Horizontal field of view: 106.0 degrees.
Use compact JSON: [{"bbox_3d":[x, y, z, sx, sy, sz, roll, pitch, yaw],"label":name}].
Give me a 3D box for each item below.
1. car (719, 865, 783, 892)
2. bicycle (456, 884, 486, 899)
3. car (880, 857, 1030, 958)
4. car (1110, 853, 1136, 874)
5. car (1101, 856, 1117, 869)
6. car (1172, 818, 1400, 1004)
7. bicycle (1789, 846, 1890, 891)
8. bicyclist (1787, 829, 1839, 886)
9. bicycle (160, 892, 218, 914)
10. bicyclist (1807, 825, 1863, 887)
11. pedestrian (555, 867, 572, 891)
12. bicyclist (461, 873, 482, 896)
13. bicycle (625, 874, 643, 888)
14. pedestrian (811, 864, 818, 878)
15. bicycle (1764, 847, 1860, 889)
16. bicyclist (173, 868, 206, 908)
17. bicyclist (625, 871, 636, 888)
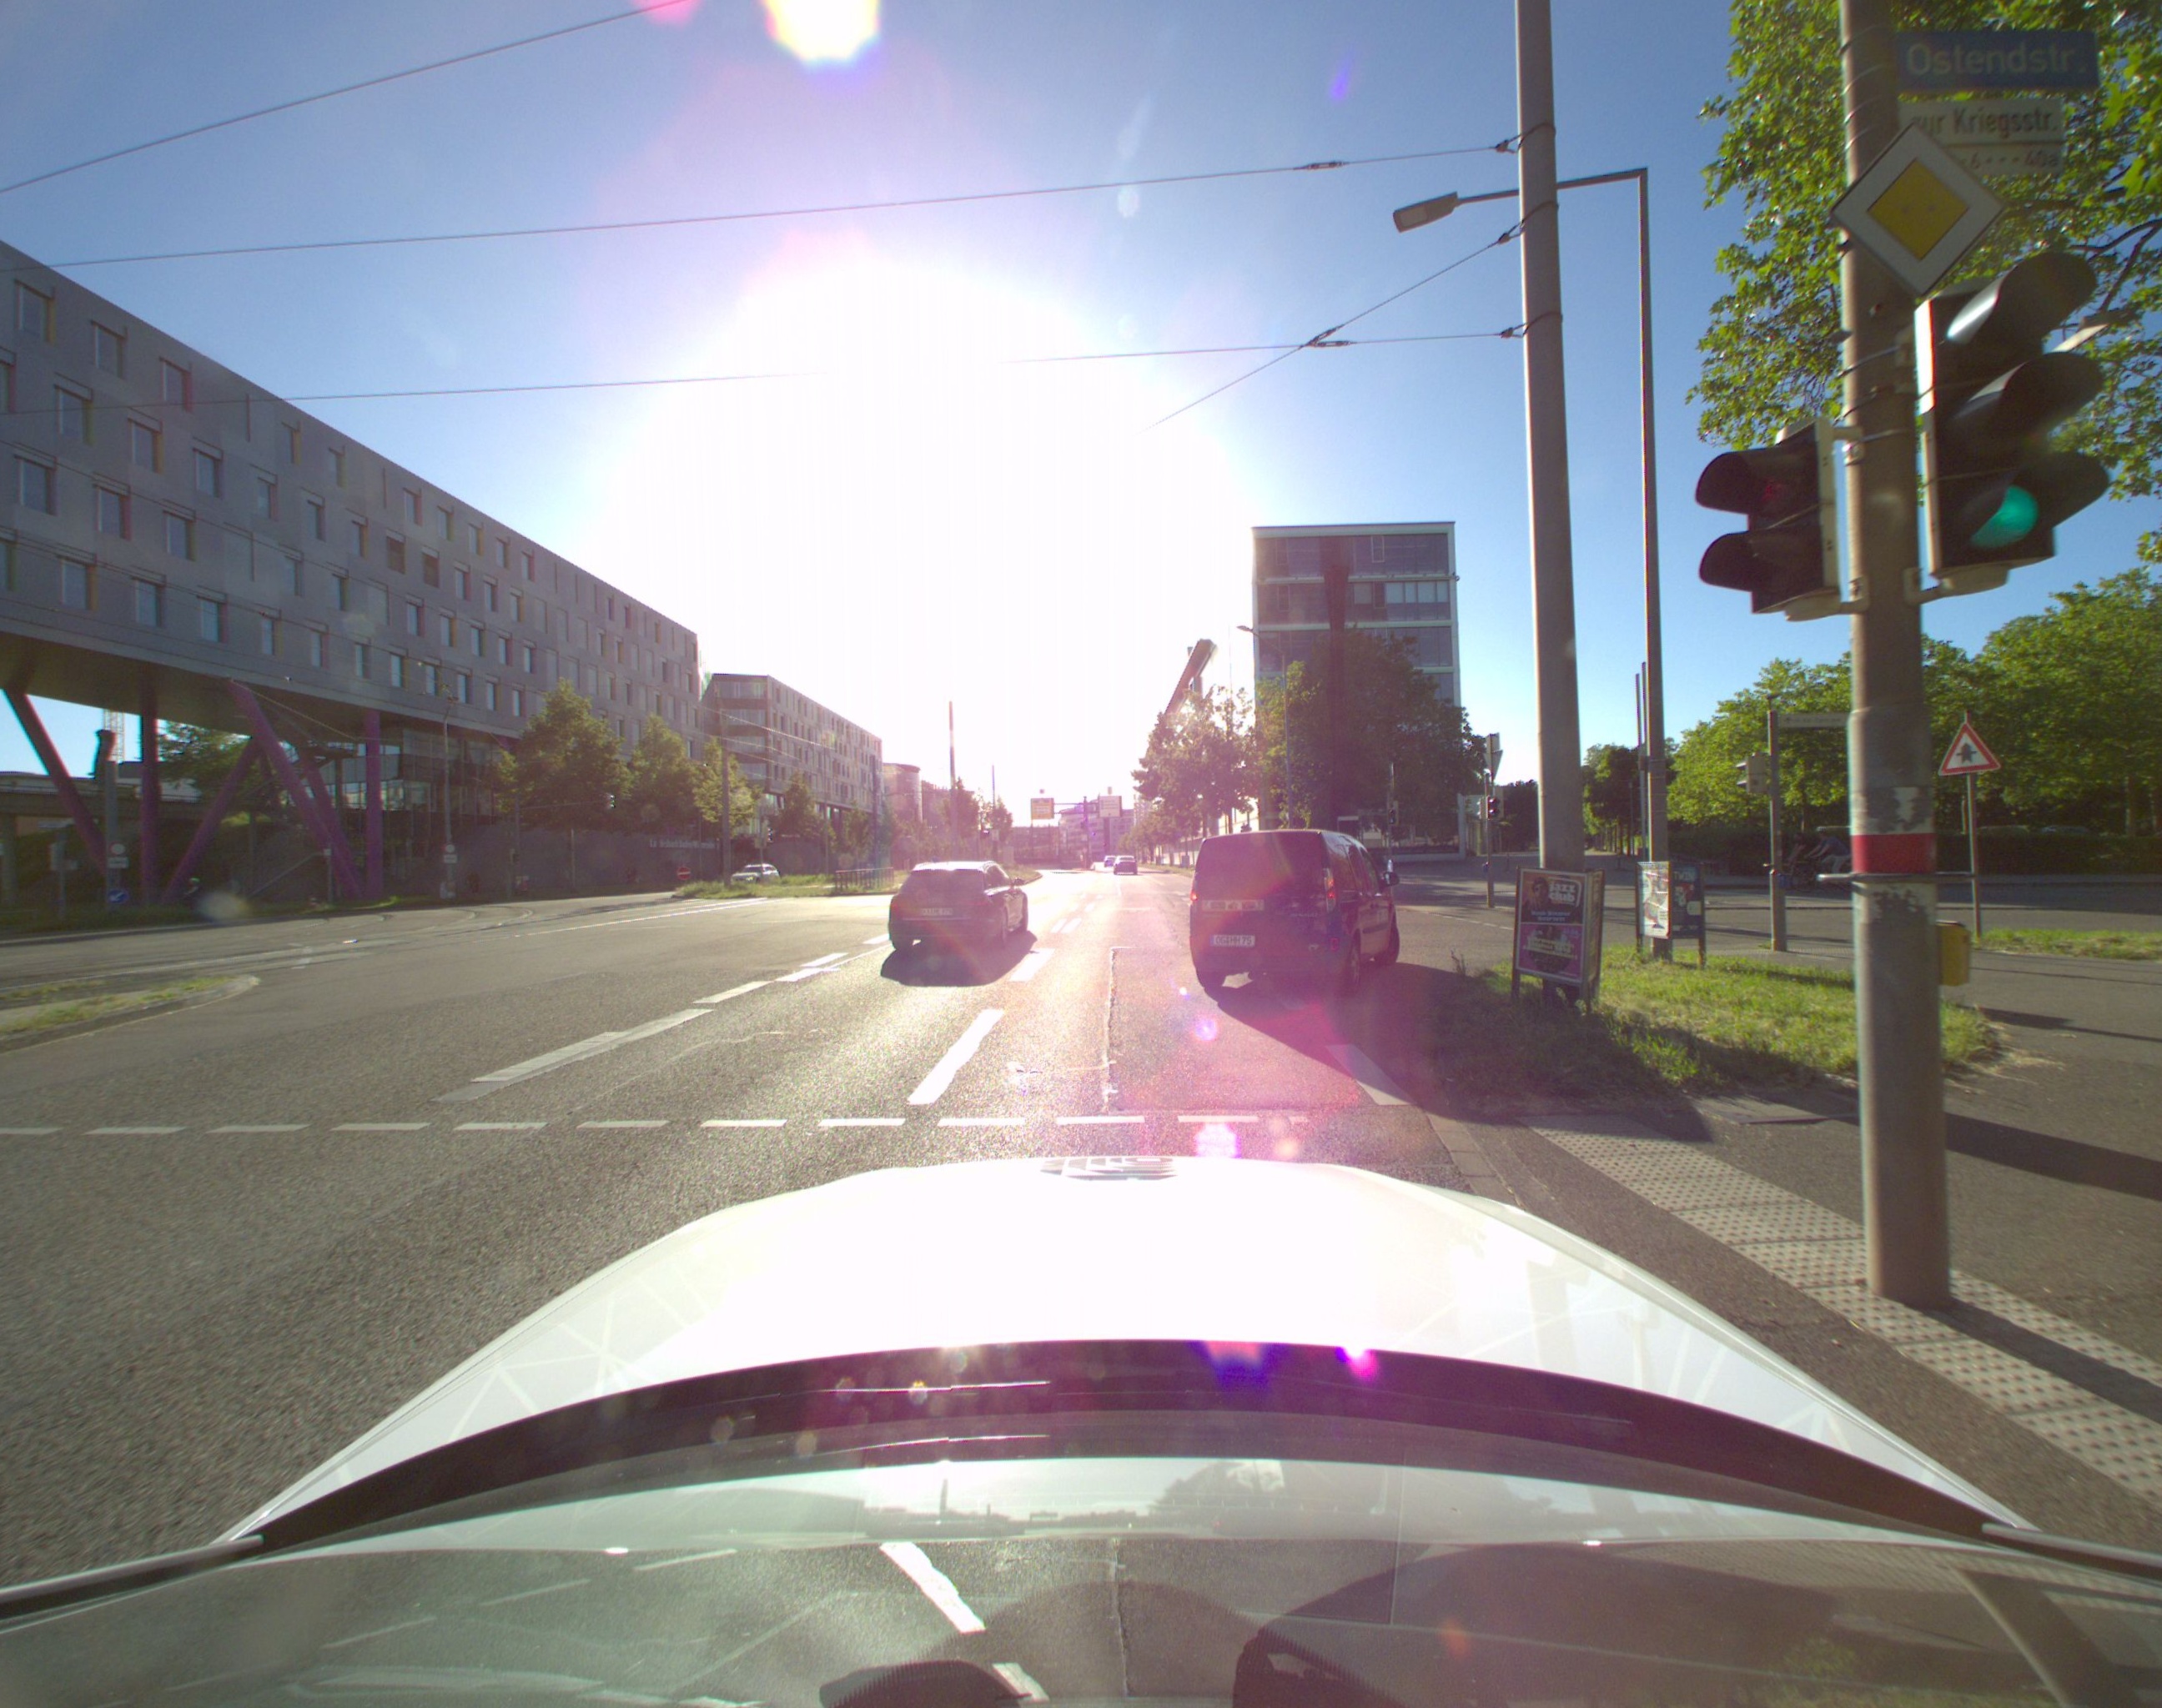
[{"bbox_3d":[-20.776,1.505,51.474,1.987,1.562,4.871,-2,0,0],"label":"car"},{"bbox_3d":[-38.814,2.398,51.811,0.573,0.863,1.693,-2,0,2],"label":"bicycle"},{"bbox_3d":[-2.079,0.821,14.805,1.805,1.427,4.693,0,1,2],"label":"car"},{"bbox_3d":[3.139,0.717,61.280,1.846,1.546,4.000,0,0,1],"label":"car"},{"bbox_3d":[3.527,1.065,104.045,1.986,1.465,4.002,-1,0,2],"label":"car"},{"bbox_3d":[2.764,0.569,10.193,1.831,1.815,4.139,0,0,28],"label":"car"},{"bbox_3d":[21.716,0.420,23.355,2.081,1.203,0.553,-2,0,15],"label":"bicycle"},{"bbox_3d":[21.891,0.105,24.376,0.867,1.653,0.797,-2,0,17],"label":"bicyclist"},{"bbox_3d":[-39.849,2.173,36.409,0.525,0.863,1.835,-2,0,2],"label":"bicycle"},{"bbox_3d":[21.632,0.062,23.391,0.867,1.737,0.836,-2,0,17],"label":"bicyclist"},{"bbox_3d":[-41.102,1.995,64.722,0.718,1.822,0.871,-2,0,1],"label":"pedestrian"},{"bbox_3d":[-38.831,1.920,51.859,0.568,1.435,0.959,-2,0,2],"label":"bicyclist"},{"bbox_3d":[-41.235,2.491,75.213,0.518,1.172,1.976,-2,0,1],"label":"bicycle"},{"bbox_3d":[-41.121,2.609,125.766,0.733,2.014,0.690,-2,-1,1],"label":"pedestrian"},{"bbox_3d":[21.861,0.419,24.384,2.081,1.203,0.553,-2,0,15],"label":"bicycle"},{"bbox_3d":[-39.871,1.499,36.427,0.527,1.726,0.838,-2,0,2],"label":"bicyclist"},{"bbox_3d":[-41.574,2.338,75.221,0.556,1.496,0.763,-2,-1,1],"label":"bicyclist"}]
